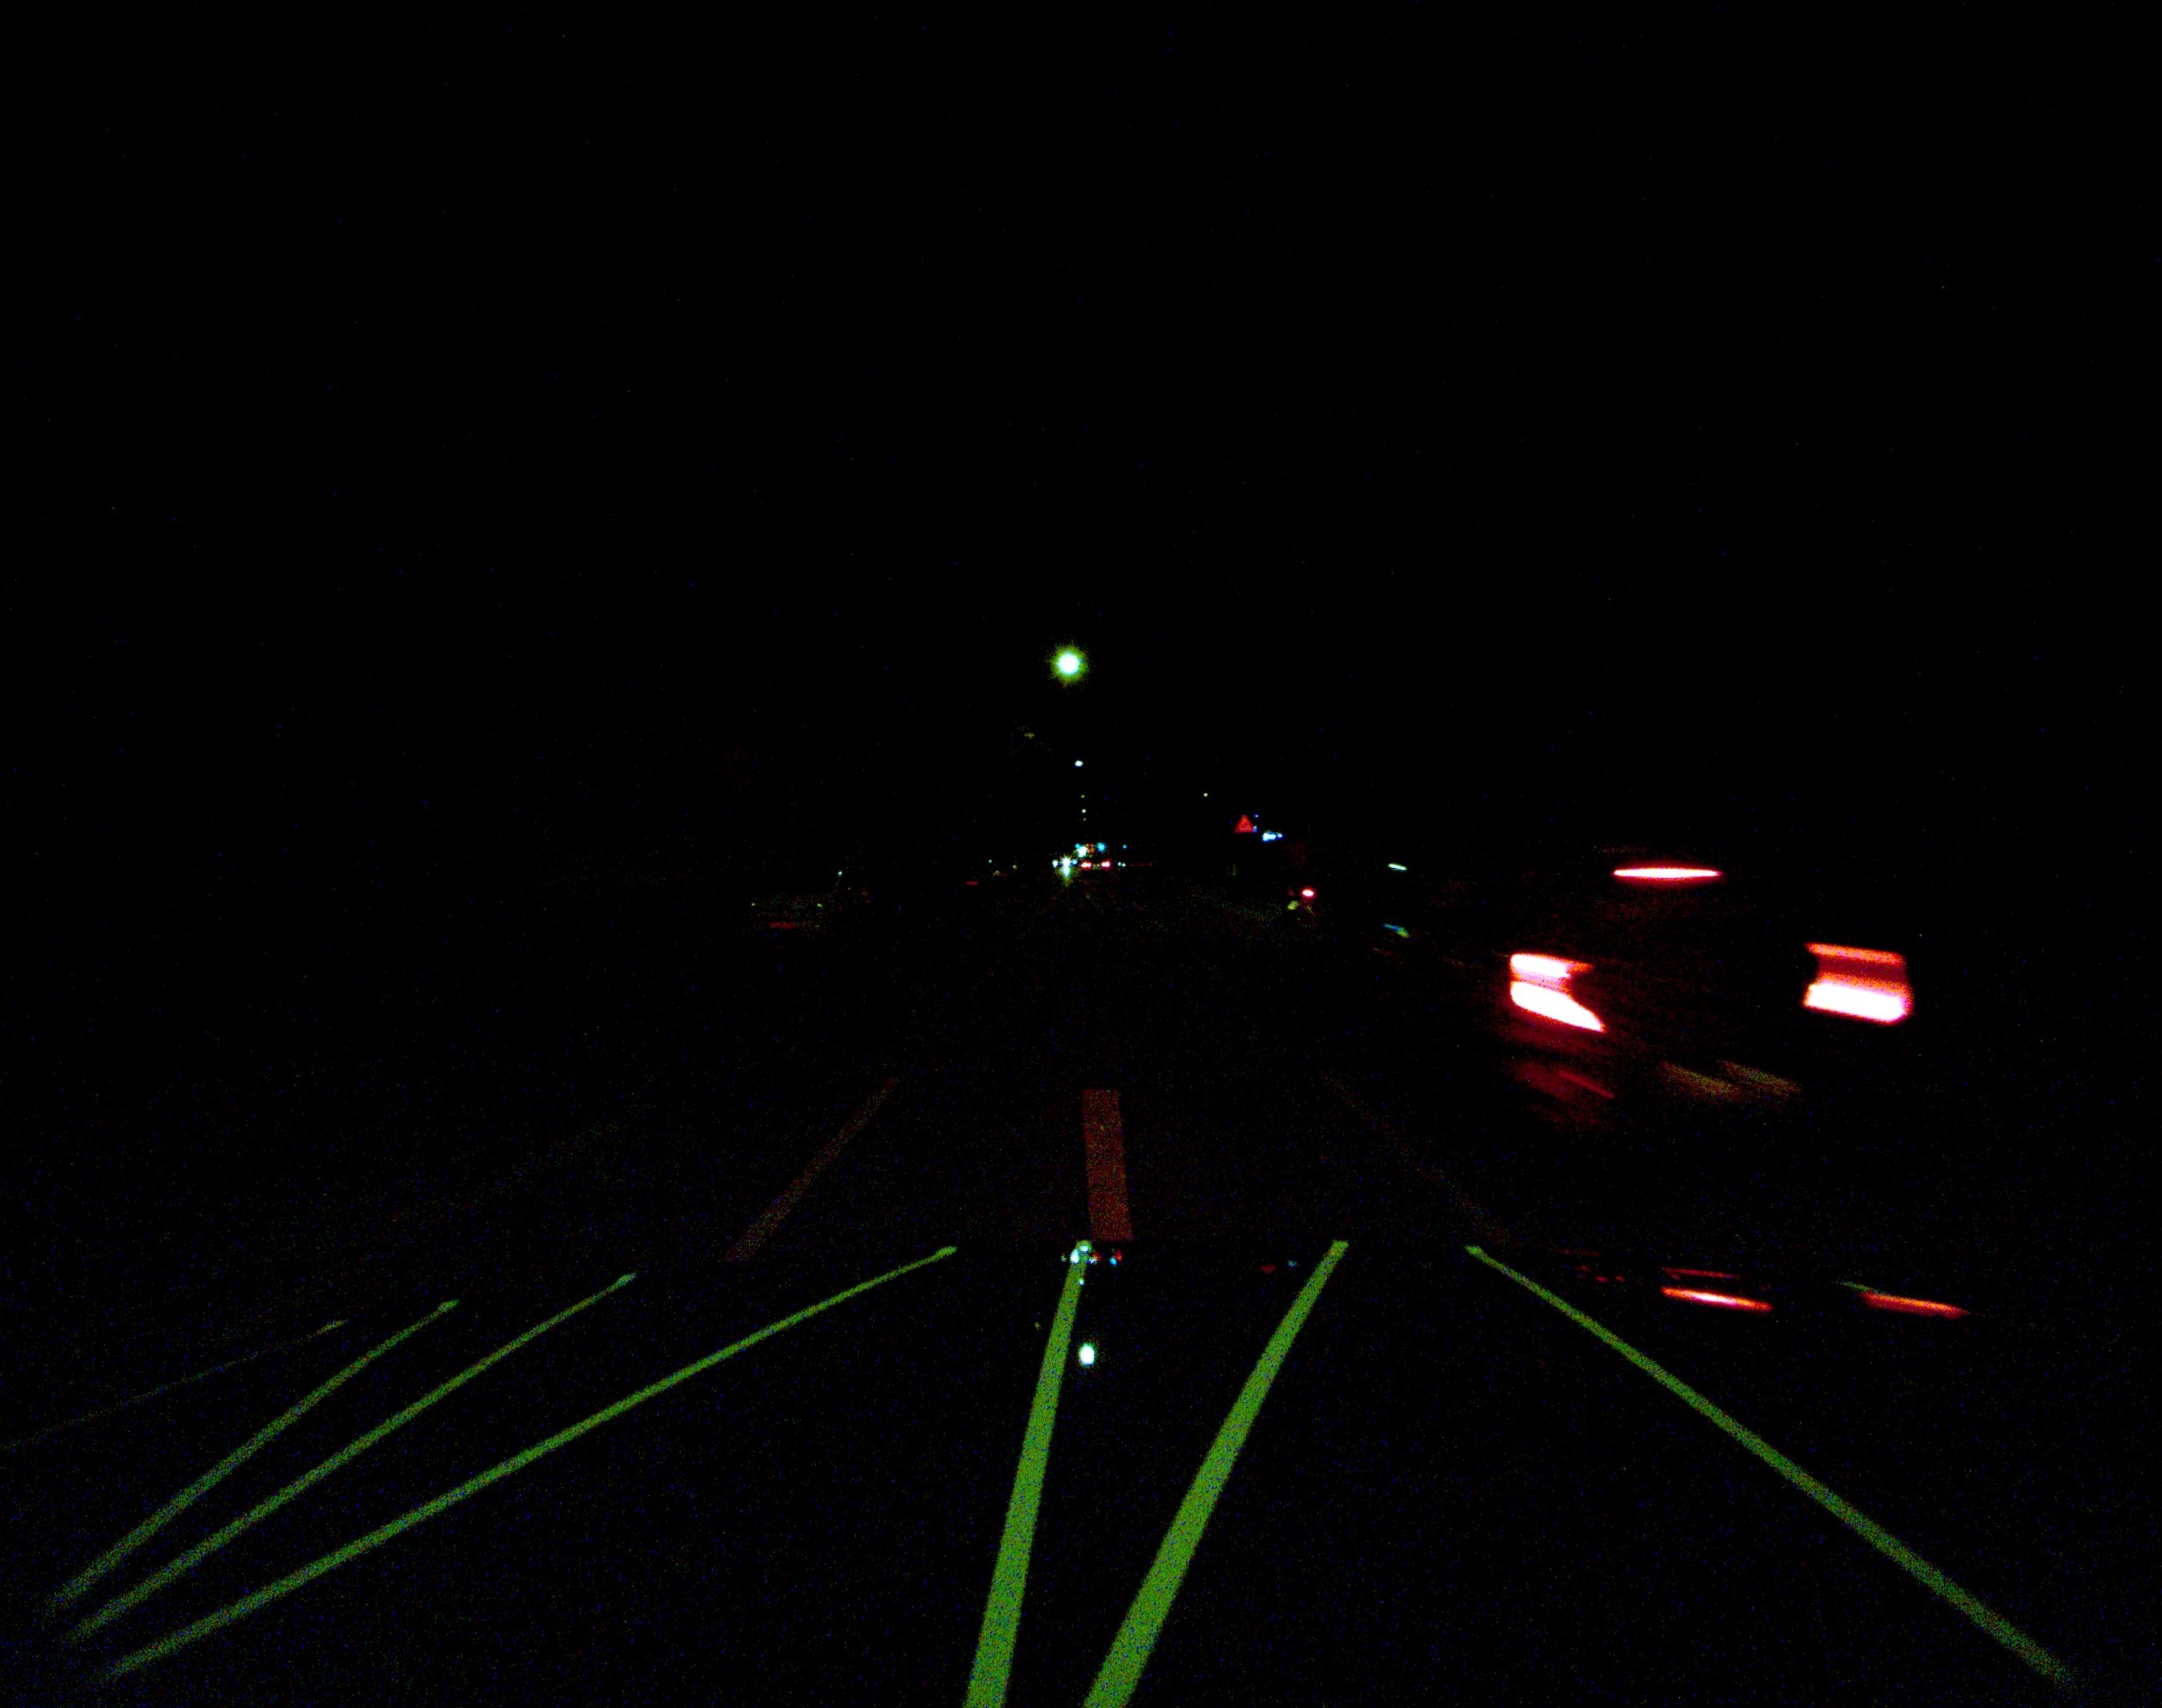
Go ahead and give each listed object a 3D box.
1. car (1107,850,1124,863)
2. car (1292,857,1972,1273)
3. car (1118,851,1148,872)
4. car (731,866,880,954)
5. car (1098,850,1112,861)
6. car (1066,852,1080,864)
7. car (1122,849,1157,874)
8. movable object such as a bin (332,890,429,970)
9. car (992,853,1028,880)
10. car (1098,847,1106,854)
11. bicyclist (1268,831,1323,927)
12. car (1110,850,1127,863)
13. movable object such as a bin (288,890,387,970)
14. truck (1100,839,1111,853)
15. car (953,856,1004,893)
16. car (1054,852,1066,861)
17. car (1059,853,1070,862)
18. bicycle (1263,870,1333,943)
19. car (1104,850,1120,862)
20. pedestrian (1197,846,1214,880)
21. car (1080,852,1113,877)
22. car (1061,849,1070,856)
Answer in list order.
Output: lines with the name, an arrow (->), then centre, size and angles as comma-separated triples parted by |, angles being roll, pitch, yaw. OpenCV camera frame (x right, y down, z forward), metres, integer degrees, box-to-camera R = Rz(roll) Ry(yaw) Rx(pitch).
car -> 4.742, 0.348, 105.121 | 1.874, 1.635, 3.999 | -2, 0, -3
car -> 2.556, 0.802, 4.561 | 1.585, 1.493, 3.395 | -2, 0, 0
car -> 3.905, 0.547, 57.841 | 1.864, 1.458, 3.896 | -4, 0, -1
car -> -5.328, 1.016, 15.199 | 1.672, 1.476, 3.603 | 0, 0, 0
car -> 3.748, 0.202, 119.491 | 1.874, 1.635, 3.999 | -2, 0, -3
car -> -1.070, 0.499, 107.815 | 1.874, 1.635, 3.999 | -2, 0, 0
car -> 3.981, 0.502, 52.326 | 1.864, 1.524, 4.587 | -4, 0, -1
movable object such as a bin -> -9.915, 1.062, 10.781 | 0.609, 1.042, 0.755 | -2, 1, 1
car -> -4.441, 0.761, 47.807 | 1.742, 1.588, 4.359 | 0, 0, 1
car -> 5.027, -0.756, 180.310 | 1.873, 1.551, 4.353 | -2, 0, 1
bicyclist -> 3.822, 0.426, 13.599 | 0.692, 1.628, 0.896 | -2, 1, 1
car -> 4.984, 0.320, 100.865 | 1.874, 1.635, 3.999 | -2, 0, -3
movable object such as a bin -> -10.564, 1.063, 10.821 | 0.609, 1.042, 0.755 | -2, 1, 1
truck -> 4.990, -1.624, 155.504 | 2.084, 2.562, 6.873 | -2, 0, 1
car -> -4.559, 0.859, 34.285 | 1.865, 1.544, 4.044 | 0, 0, -1
car -> -3.561, 0.393, 129.450 | 1.874, 1.407, 3.999 | -2, 0, 0
car -> -2.960, 0.570, 134.797 | 1.874, 1.407, 3.999 | -2, 0, 0
bicycle -> 3.860, 0.899, 13.682 | 0.698, 1.142, 1.950 | -2, 1, 1
car -> 4.460, 0.291, 110.060 | 1.874, 1.635, 3.999 | -2, 0, -3
pedestrian -> 6.557, 0.458, 39.909 | 0.670, 1.716, 0.866 | -2, 1, -2
car -> 0.978, 0.653, 50.901 | 1.862, 1.525, 4.026 | -2, 0, -3
car -> -3.281, -0.267, 161.923 | 1.874, 1.407, 3.999 | -2, 0, 0
